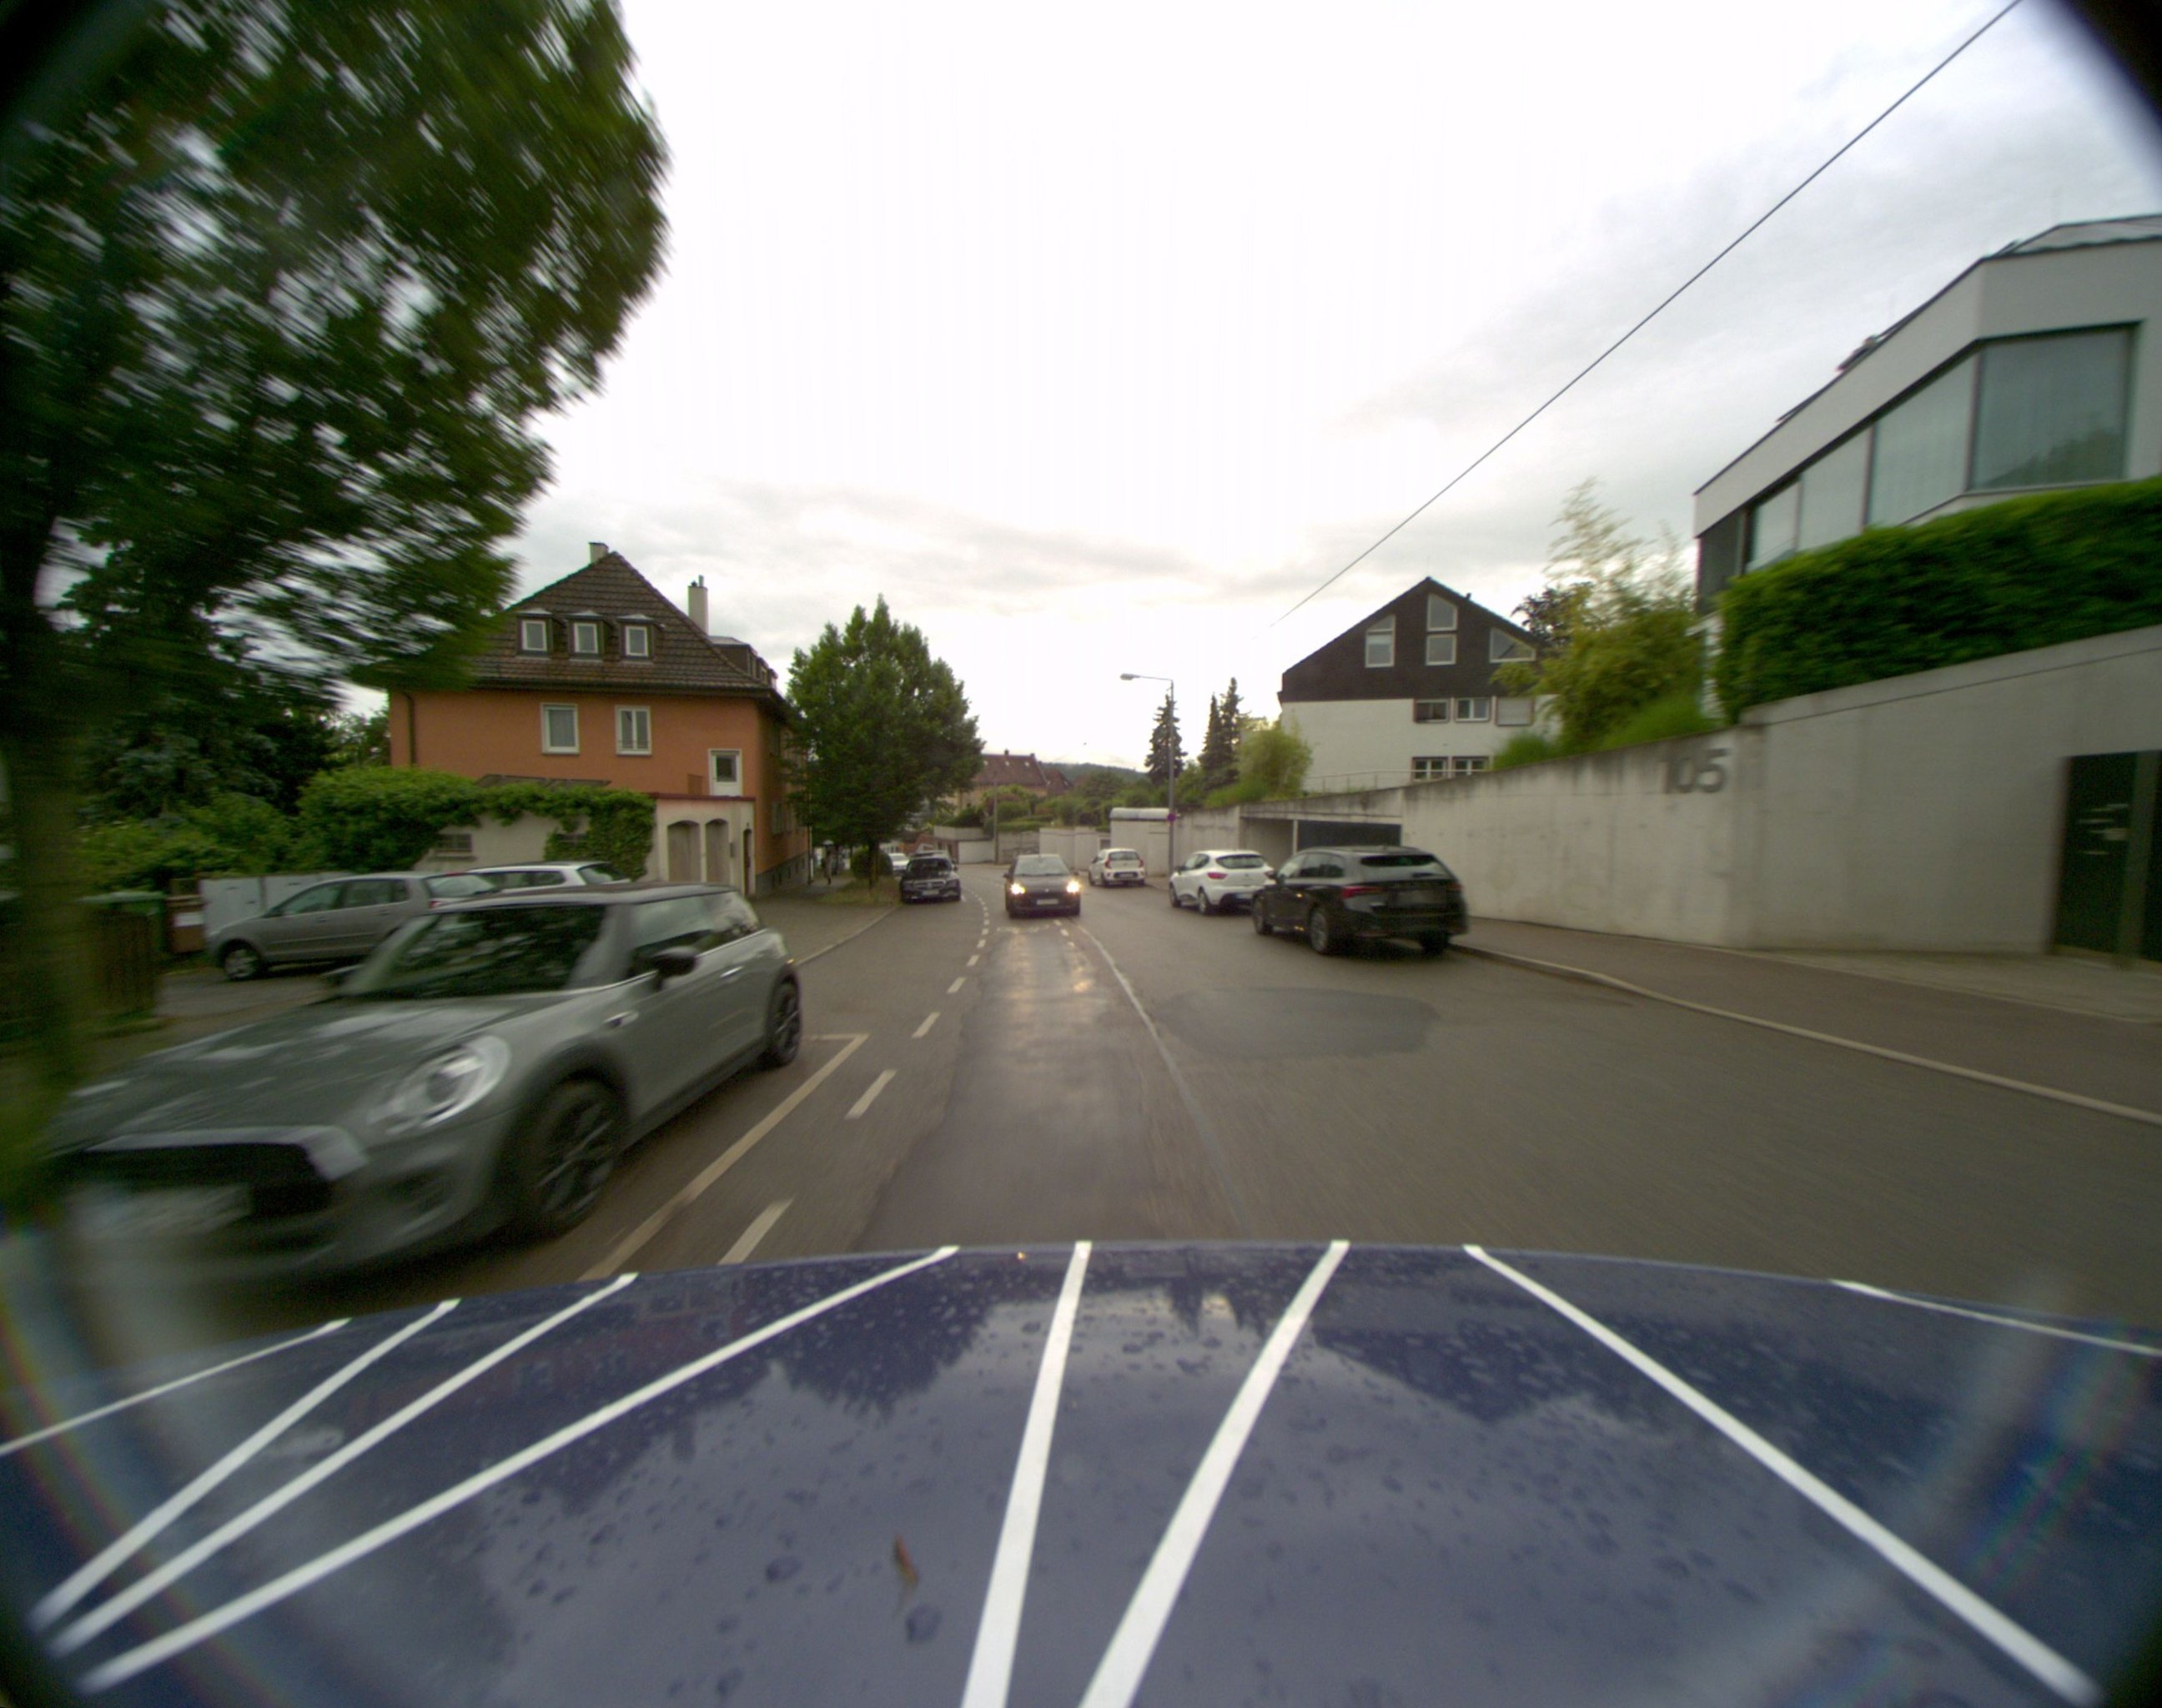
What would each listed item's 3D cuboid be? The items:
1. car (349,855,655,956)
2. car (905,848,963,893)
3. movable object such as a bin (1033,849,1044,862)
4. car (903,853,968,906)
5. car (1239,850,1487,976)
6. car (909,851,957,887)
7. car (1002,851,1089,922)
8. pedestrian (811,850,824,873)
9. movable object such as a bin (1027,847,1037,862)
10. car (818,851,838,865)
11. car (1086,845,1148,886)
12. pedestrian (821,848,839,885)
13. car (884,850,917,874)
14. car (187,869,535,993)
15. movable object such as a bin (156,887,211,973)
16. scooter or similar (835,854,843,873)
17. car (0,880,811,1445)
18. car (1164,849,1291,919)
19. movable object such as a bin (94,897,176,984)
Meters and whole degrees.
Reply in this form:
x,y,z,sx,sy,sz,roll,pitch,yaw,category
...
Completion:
x,y,z,sx,sy,sz,roll,pitch,yaw,category
-11.063,0.945,14.782,4.314,1.457,1.933,-4,3,0,car
-6.028,0.587,31.621,2.060,1.646,5.231,-2,1,-8,car
-3.323,0.118,59.418,0.608,0.986,0.602,-3,2,20,movable object such as a bin
-4.959,0.777,25.924,1.868,1.461,5.050,-4,1,-11,car
3.905,0.697,11.516,1.718,1.451,4.680,-1,1,-4,car
-7.350,0.663,37.363,1.862,1.572,4.850,-2,1,-16,car
-0.939,0.717,19.036,1.893,1.521,4.055,-2,1,-4,car
-19.956,0.569,57.494,0.836,1.676,1.043,1,0,-23,pedestrian
-3.878,0.066,59.628,0.527,1.140,0.601,-2,3,20,movable object such as a bin
-31.766,0.542,95.335,1.737,1.598,4.110,-4,2,-26,car
1.353,0.417,30.358,1.632,1.507,3.828,-1,1,-10,car
-11.853,0.583,35.852,0.763,1.710,0.901,1,0,-16,pedestrian
-12.365,0.527,51.926,1.663,1.481,3.993,-4,1,-20,car
-11.203,1.147,12.030,3.689,1.457,1.778,-4,2,1,car
-15.331,1.289,12.985,0.445,1.429,0.396,-1,2,14,movable object such as a bin
-16.390,0.650,51.434,0.415,1.238,1.173,-2,1,-21,scooter or similar
-2.996,1.004,4.121,1.673,1.462,3.709,-3,1,0,car
3.363,0.631,18.259,1.838,1.431,4.036,-1,1,-7,car
-15.605,1.410,12.549,0.620,1.343,0.594,-1,2,14,movable object such as a bin
